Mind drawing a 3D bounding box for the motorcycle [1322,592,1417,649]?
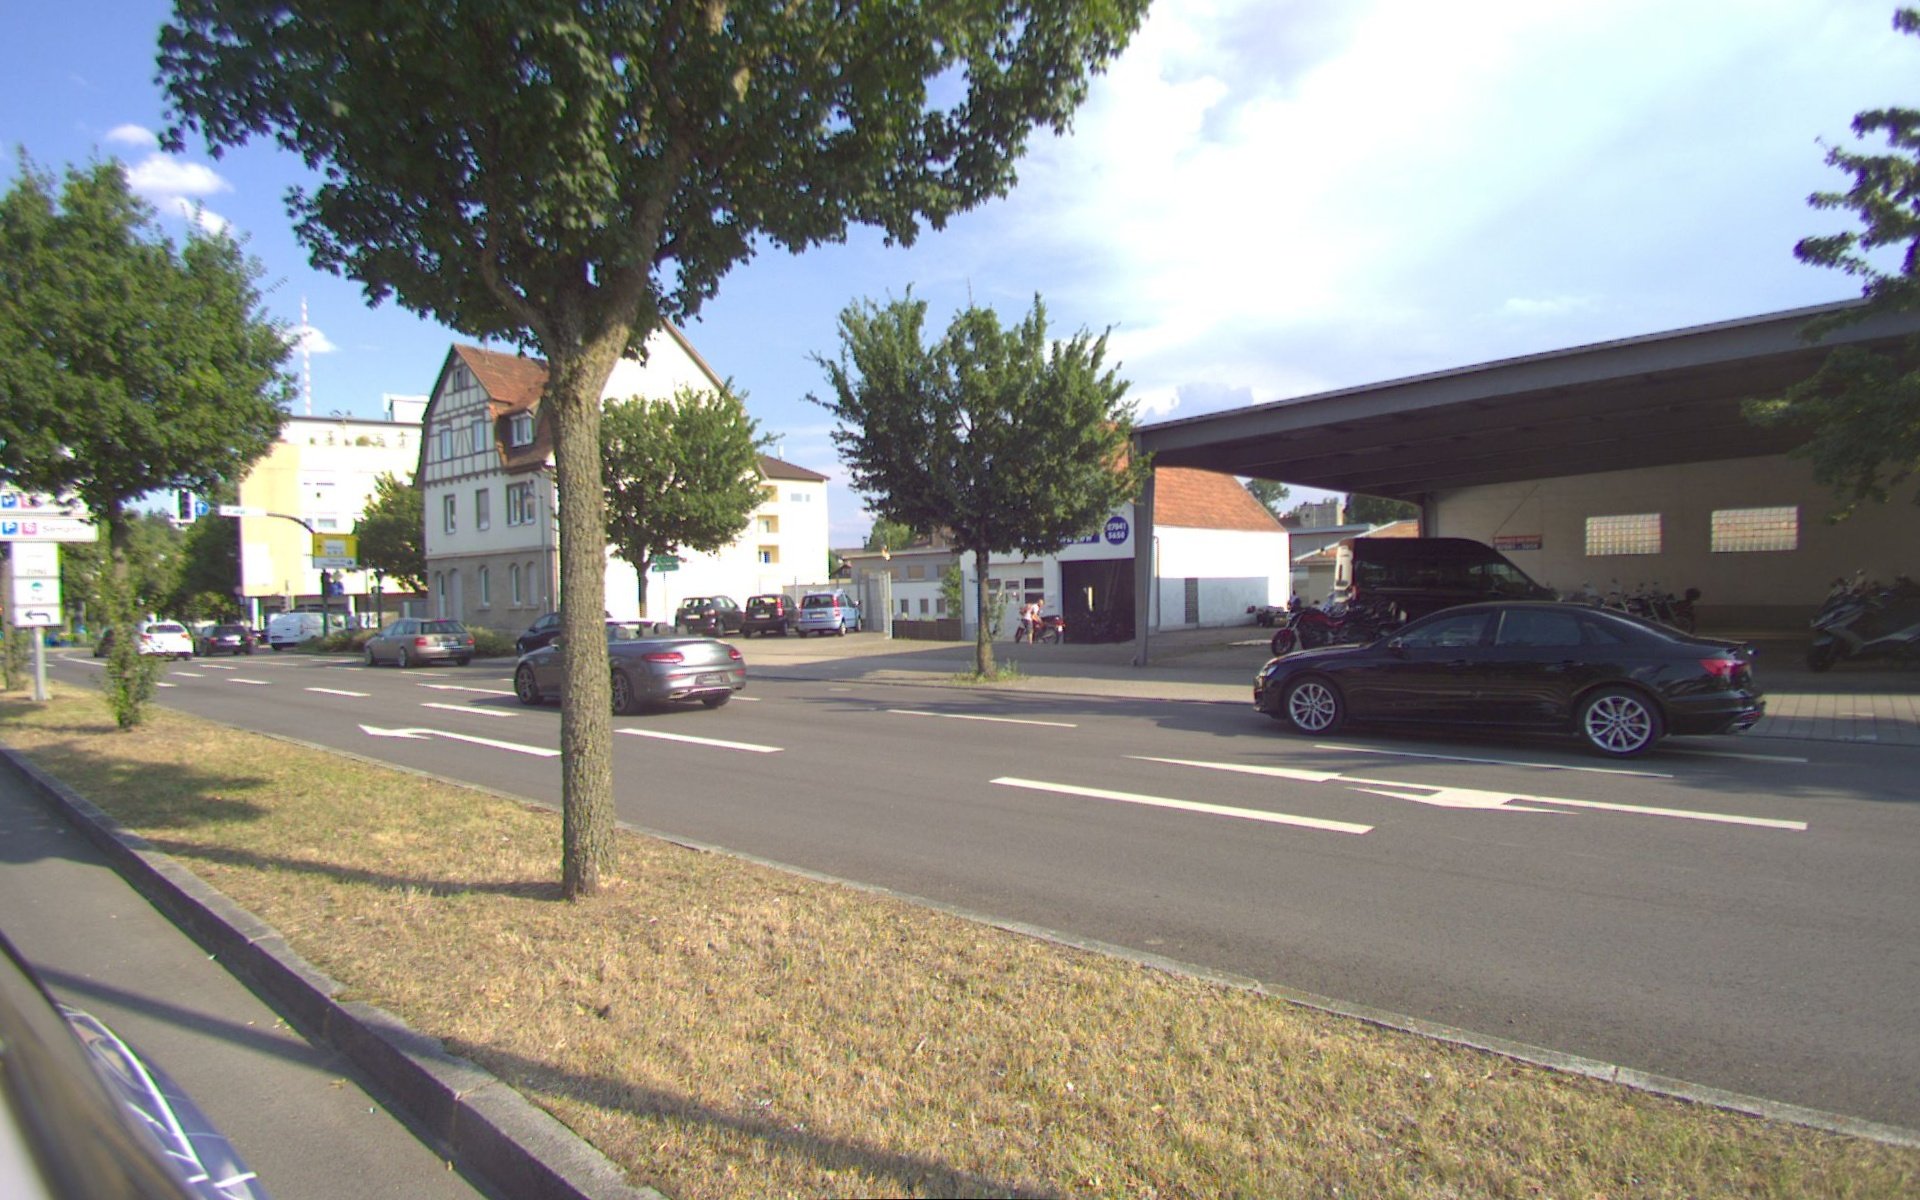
[{"bbox_3d":[9.882,0.496,24.478,1.982,1.321,0.649,-1,0,5],"label":"motorcycle"}]

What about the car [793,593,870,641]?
[{"bbox_3d":[-4.455,0.572,35.653,1.746,1.564,3.992,-1,0,7],"label":"car"}]

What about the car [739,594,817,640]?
[{"bbox_3d":[-6.649,0.603,37.339,1.746,1.564,3.992,-1,0,7],"label":"car"}]

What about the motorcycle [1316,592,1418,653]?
[{"bbox_3d":[9.115,0.504,22.698,1.982,1.321,0.649,-1,0,5],"label":"motorcycle"}]

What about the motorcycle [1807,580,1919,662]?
[{"bbox_3d":[15.368,0.347,16.710,2.068,1.317,0.561,-1,0,12],"label":"motorcycle"}]

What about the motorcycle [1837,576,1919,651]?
[{"bbox_3d":[17.194,0.236,18.202,2.068,1.317,0.621,-1,0,12],"label":"motorcycle"}]

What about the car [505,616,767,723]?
[{"bbox_3d":[-5.061,0.959,15.462,4.476,1.359,1.762,-1,0,41],"label":"car"}]

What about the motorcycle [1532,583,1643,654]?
[{"bbox_3d":[13.741,0.393,22.250,0.584,1.459,2.161,-1,0,-19],"label":"motorcycle"}]

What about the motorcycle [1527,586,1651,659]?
[{"bbox_3d":[12.220,0.423,19.754,0.553,1.340,2.161,-1,0,-19],"label":"motorcycle"}]

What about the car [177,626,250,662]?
[{"bbox_3d":[-33.378,1.929,45.210,4.244,1.508,1.788,-1,0,42],"label":"car"}]

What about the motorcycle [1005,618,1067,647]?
[{"bbox_3d":[2.490,1.050,33.328,2.212,0.927,0.500,-1,0,45],"label":"motorcycle"}]

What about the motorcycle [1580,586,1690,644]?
[{"bbox_3d":[15.566,0.333,23.421,0.636,1.268,2.161,-1,0,-19],"label":"motorcycle"}]

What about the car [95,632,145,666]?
[{"bbox_3d":[-39.471,2.260,47.523,1.747,1.462,4.114,-1,-1,-41],"label":"car"}]

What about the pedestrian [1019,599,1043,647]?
[{"bbox_3d":[2.298,0.733,32.796,0.643,1.535,0.675,-1,0,-8],"label":"pedestrian"}]

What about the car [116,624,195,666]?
[{"bbox_3d":[-31.321,1.723,39.361,3.954,1.508,1.782,-1,0,42],"label":"car"}]

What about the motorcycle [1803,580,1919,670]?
[{"bbox_3d":[13.951,0.367,15.063,2.093,1.317,0.561,-1,0,12],"label":"motorcycle"}]

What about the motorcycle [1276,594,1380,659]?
[{"bbox_3d":[7.646,0.548,21.114,1.991,1.321,0.665,-1,0,18],"label":"motorcycle"}]

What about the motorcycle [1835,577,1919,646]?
[{"bbox_3d":[18.361,0.218,19.618,2.068,1.317,0.581,-1,0,12],"label":"motorcycle"}]

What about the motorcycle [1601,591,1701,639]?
[{"bbox_3d":[17.288,0.365,25.391,0.553,1.131,2.161,-1,0,-19],"label":"motorcycle"}]

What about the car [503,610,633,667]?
[{"bbox_3d":[-11.680,1.111,30.033,4.193,1.454,1.816,-1,3,41],"label":"car"}]

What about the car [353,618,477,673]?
[{"bbox_3d":[-16.240,1.300,30.052,4.709,1.473,1.669,-1,0,41],"label":"car"}]

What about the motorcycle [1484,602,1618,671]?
[{"bbox_3d":[10.489,0.623,18.059,0.620,1.132,2.161,-1,0,-19],"label":"motorcycle"}]

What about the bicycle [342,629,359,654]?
[{"bbox_3d":[-32.383,2.188,53.771,0.670,1.231,1.519,-1,0,-29],"label":"bicycle"}]

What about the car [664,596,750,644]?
[{"bbox_3d":[-9.323,0.695,37.600,1.746,1.563,3.992,-2,1,7],"label":"car"}]

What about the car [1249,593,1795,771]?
[{"bbox_3d":[5.578,0.700,10.455,4.642,1.432,1.824,-1,0,41],"label":"car"}]

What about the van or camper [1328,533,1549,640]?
[{"bbox_3d":[12.879,-0.338,27.528,4.979,2.700,1.995,-1,0,8],"label":"van or camper"}]

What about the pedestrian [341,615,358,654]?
[{"bbox_3d":[-31.880,1.799,52.847,0.688,1.997,0.590,-1,0,-29],"label":"pedestrian"}]

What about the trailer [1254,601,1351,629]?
[{"bbox_3d":[12.606,0.544,37.181,2.449,0.831,3.152,-1,2,38],"label":"trailer"}]

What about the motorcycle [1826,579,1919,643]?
[{"bbox_3d":[19.491,0.227,21.138,2.068,1.317,0.561,-1,0,12],"label":"motorcycle"}]

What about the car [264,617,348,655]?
[{"bbox_3d":[-35.410,1.905,54.982,1.800,1.938,4.951,-1,0,-6],"label":"car"}]

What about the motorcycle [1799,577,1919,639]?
[{"bbox_3d":[20.004,0.184,22.455,2.068,1.317,0.561,-1,0,12],"label":"motorcycle"}]
